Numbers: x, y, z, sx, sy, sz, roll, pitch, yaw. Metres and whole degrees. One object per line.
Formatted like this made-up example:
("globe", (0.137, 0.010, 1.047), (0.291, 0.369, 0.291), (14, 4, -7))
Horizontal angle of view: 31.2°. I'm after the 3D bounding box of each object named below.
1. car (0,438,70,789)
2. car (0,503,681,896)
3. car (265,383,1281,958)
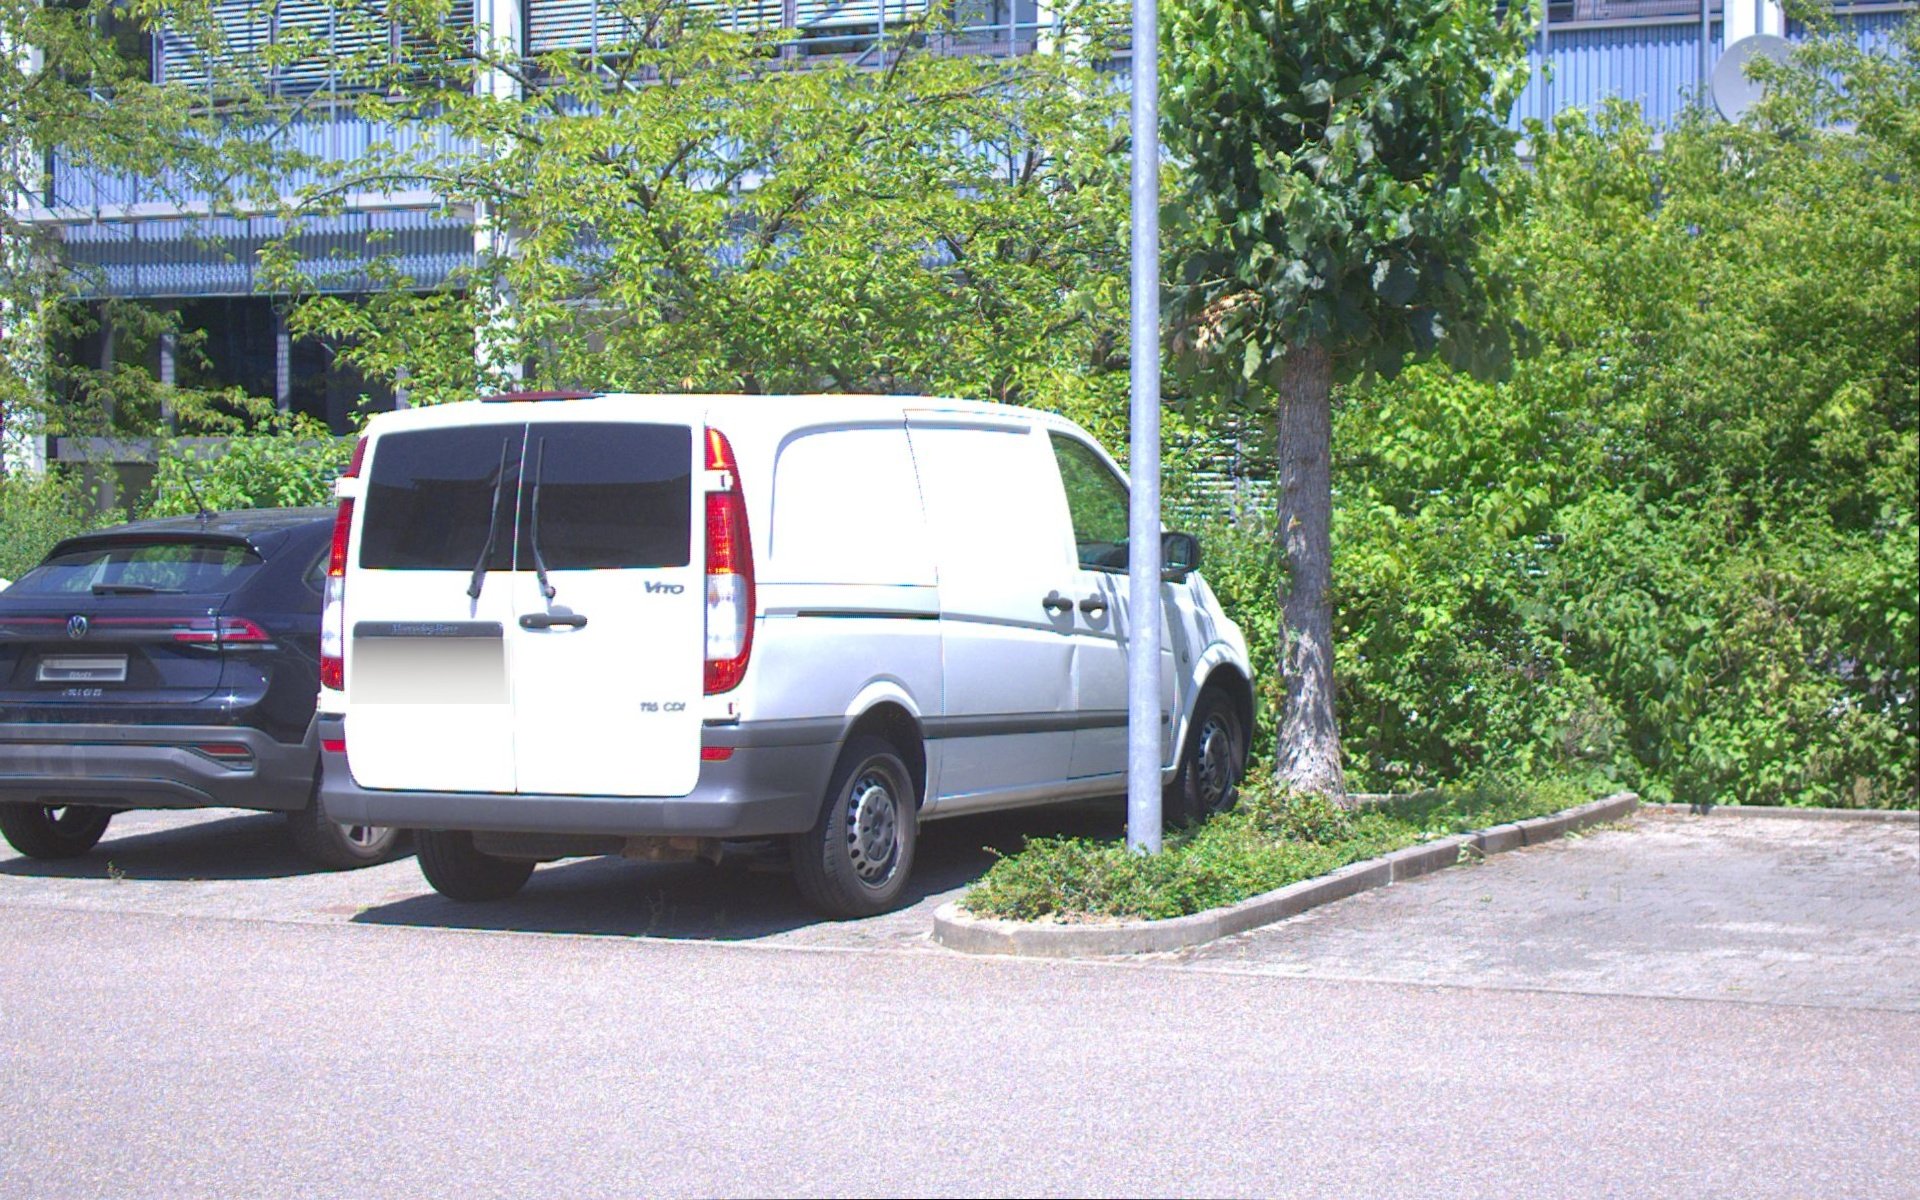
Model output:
("car", (-6.918, 0.142, 17.293), (1.885, 1.884, 4.796), (1, 3, 30))
("car", (-2.898, 0.345, 15.644), (1.756, 1.471, 3.997), (0, 2, 19))
("car", (-0.502, 0.136, 13.914), (1.916, 1.898, 4.801), (0, 2, 27))
